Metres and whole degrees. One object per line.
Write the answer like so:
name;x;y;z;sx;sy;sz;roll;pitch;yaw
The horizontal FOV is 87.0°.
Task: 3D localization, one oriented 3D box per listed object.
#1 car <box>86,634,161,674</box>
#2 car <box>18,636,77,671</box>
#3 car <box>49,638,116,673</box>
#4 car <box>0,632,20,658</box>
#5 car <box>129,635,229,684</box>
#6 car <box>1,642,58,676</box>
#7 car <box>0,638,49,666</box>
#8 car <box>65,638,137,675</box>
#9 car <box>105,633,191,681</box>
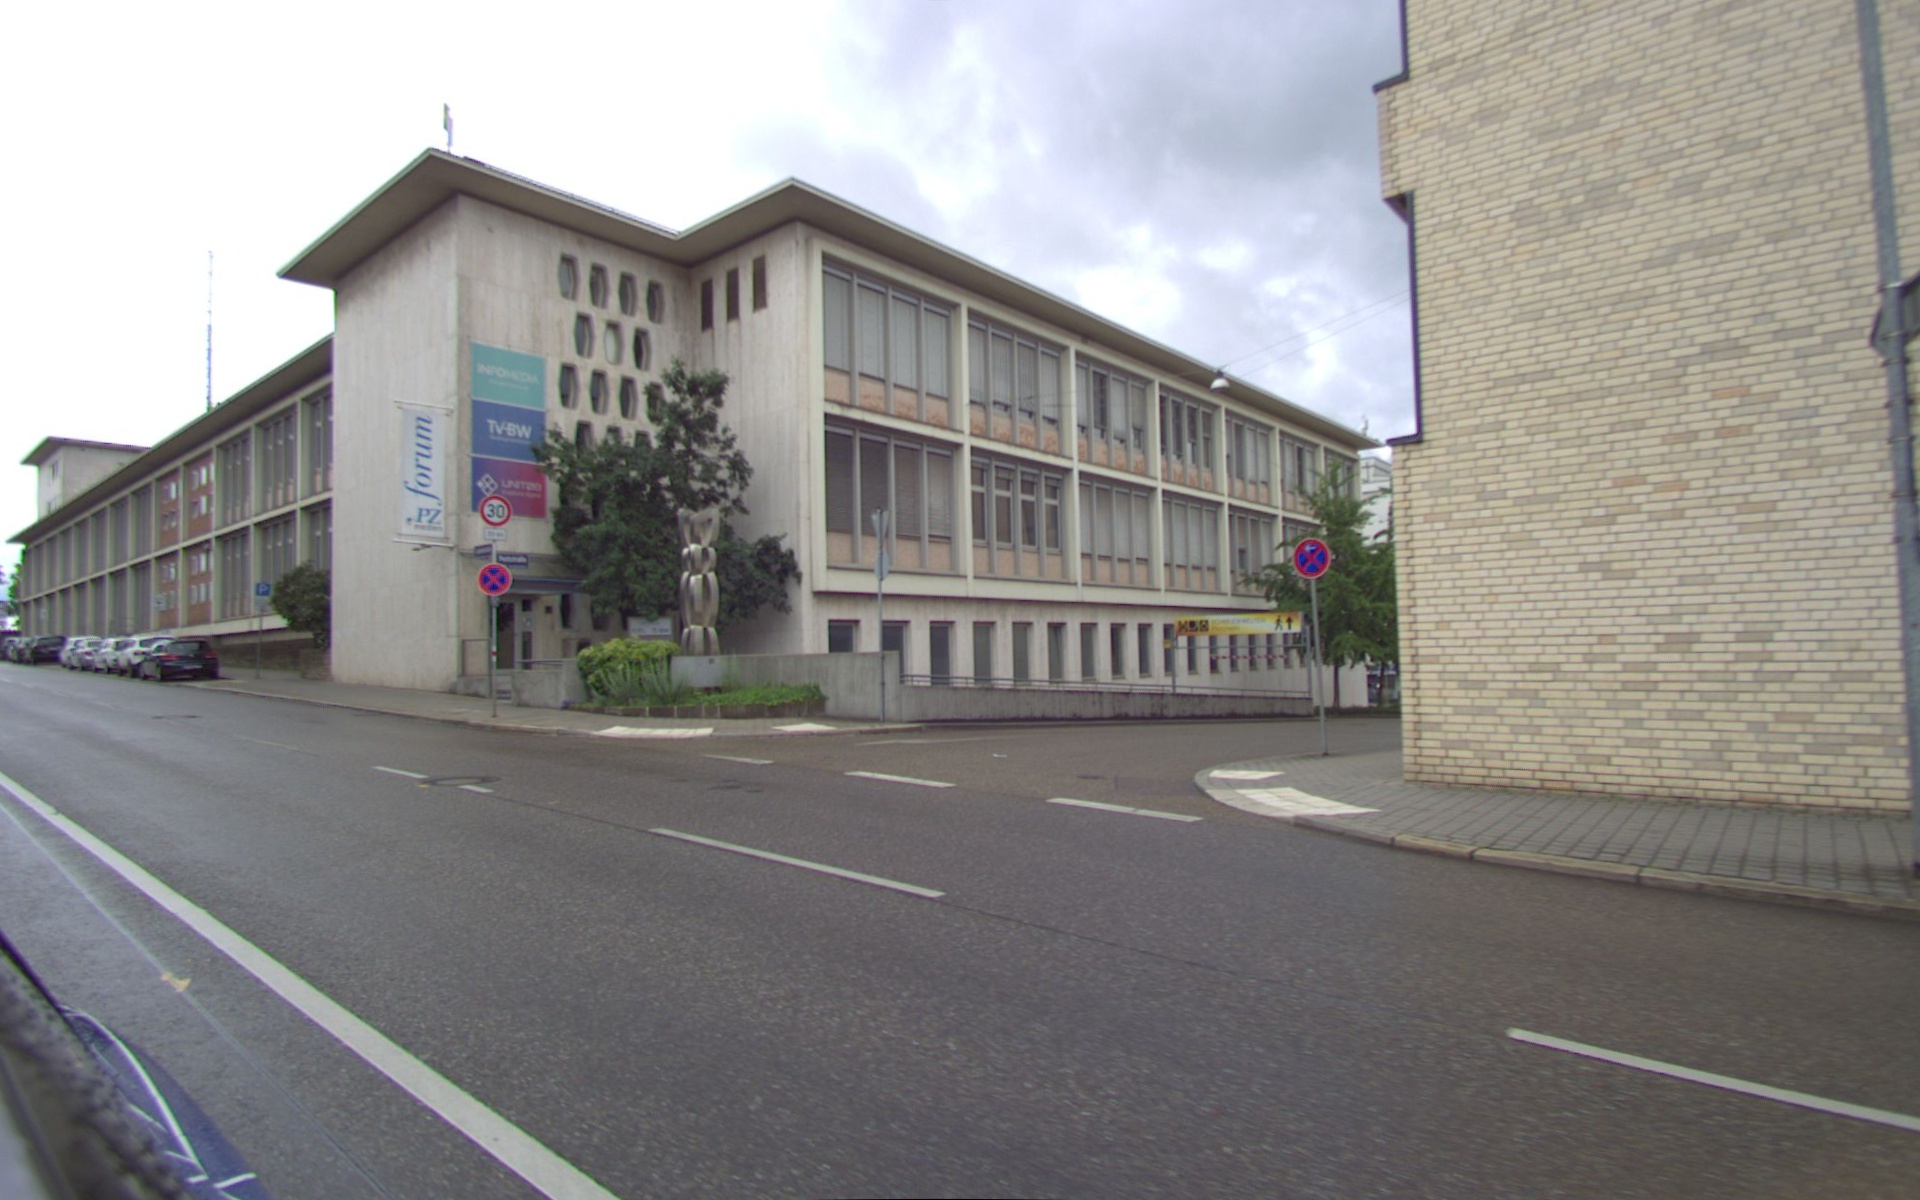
car;-35.939;2.286;43.454;4.000;1.523;1.972;-1;0;43
car;-50.792;2.926;56.310;3.998;1.724;1.973;-1;0;41
car;-43.985;2.724;50.709;3.997;1.541;1.973;-1;0;40
car;-66.779;3.133;70.073;3.997;1.659;1.974;0;2;40
car;-27.983;2.085;36.221;3.996;1.541;1.974;-1;0;40
car;-55.134;3.460;59.970;3.996;1.747;1.974;-1;0;40
car;-59.880;3.266;64.716;3.998;1.590;1.973;-1;0;41
car;-39.704;2.567;46.737;4.184;1.502;1.973;-1;0;42
car;-31.921;2.187;39.770;3.998;1.654;1.973;-1;0;41
